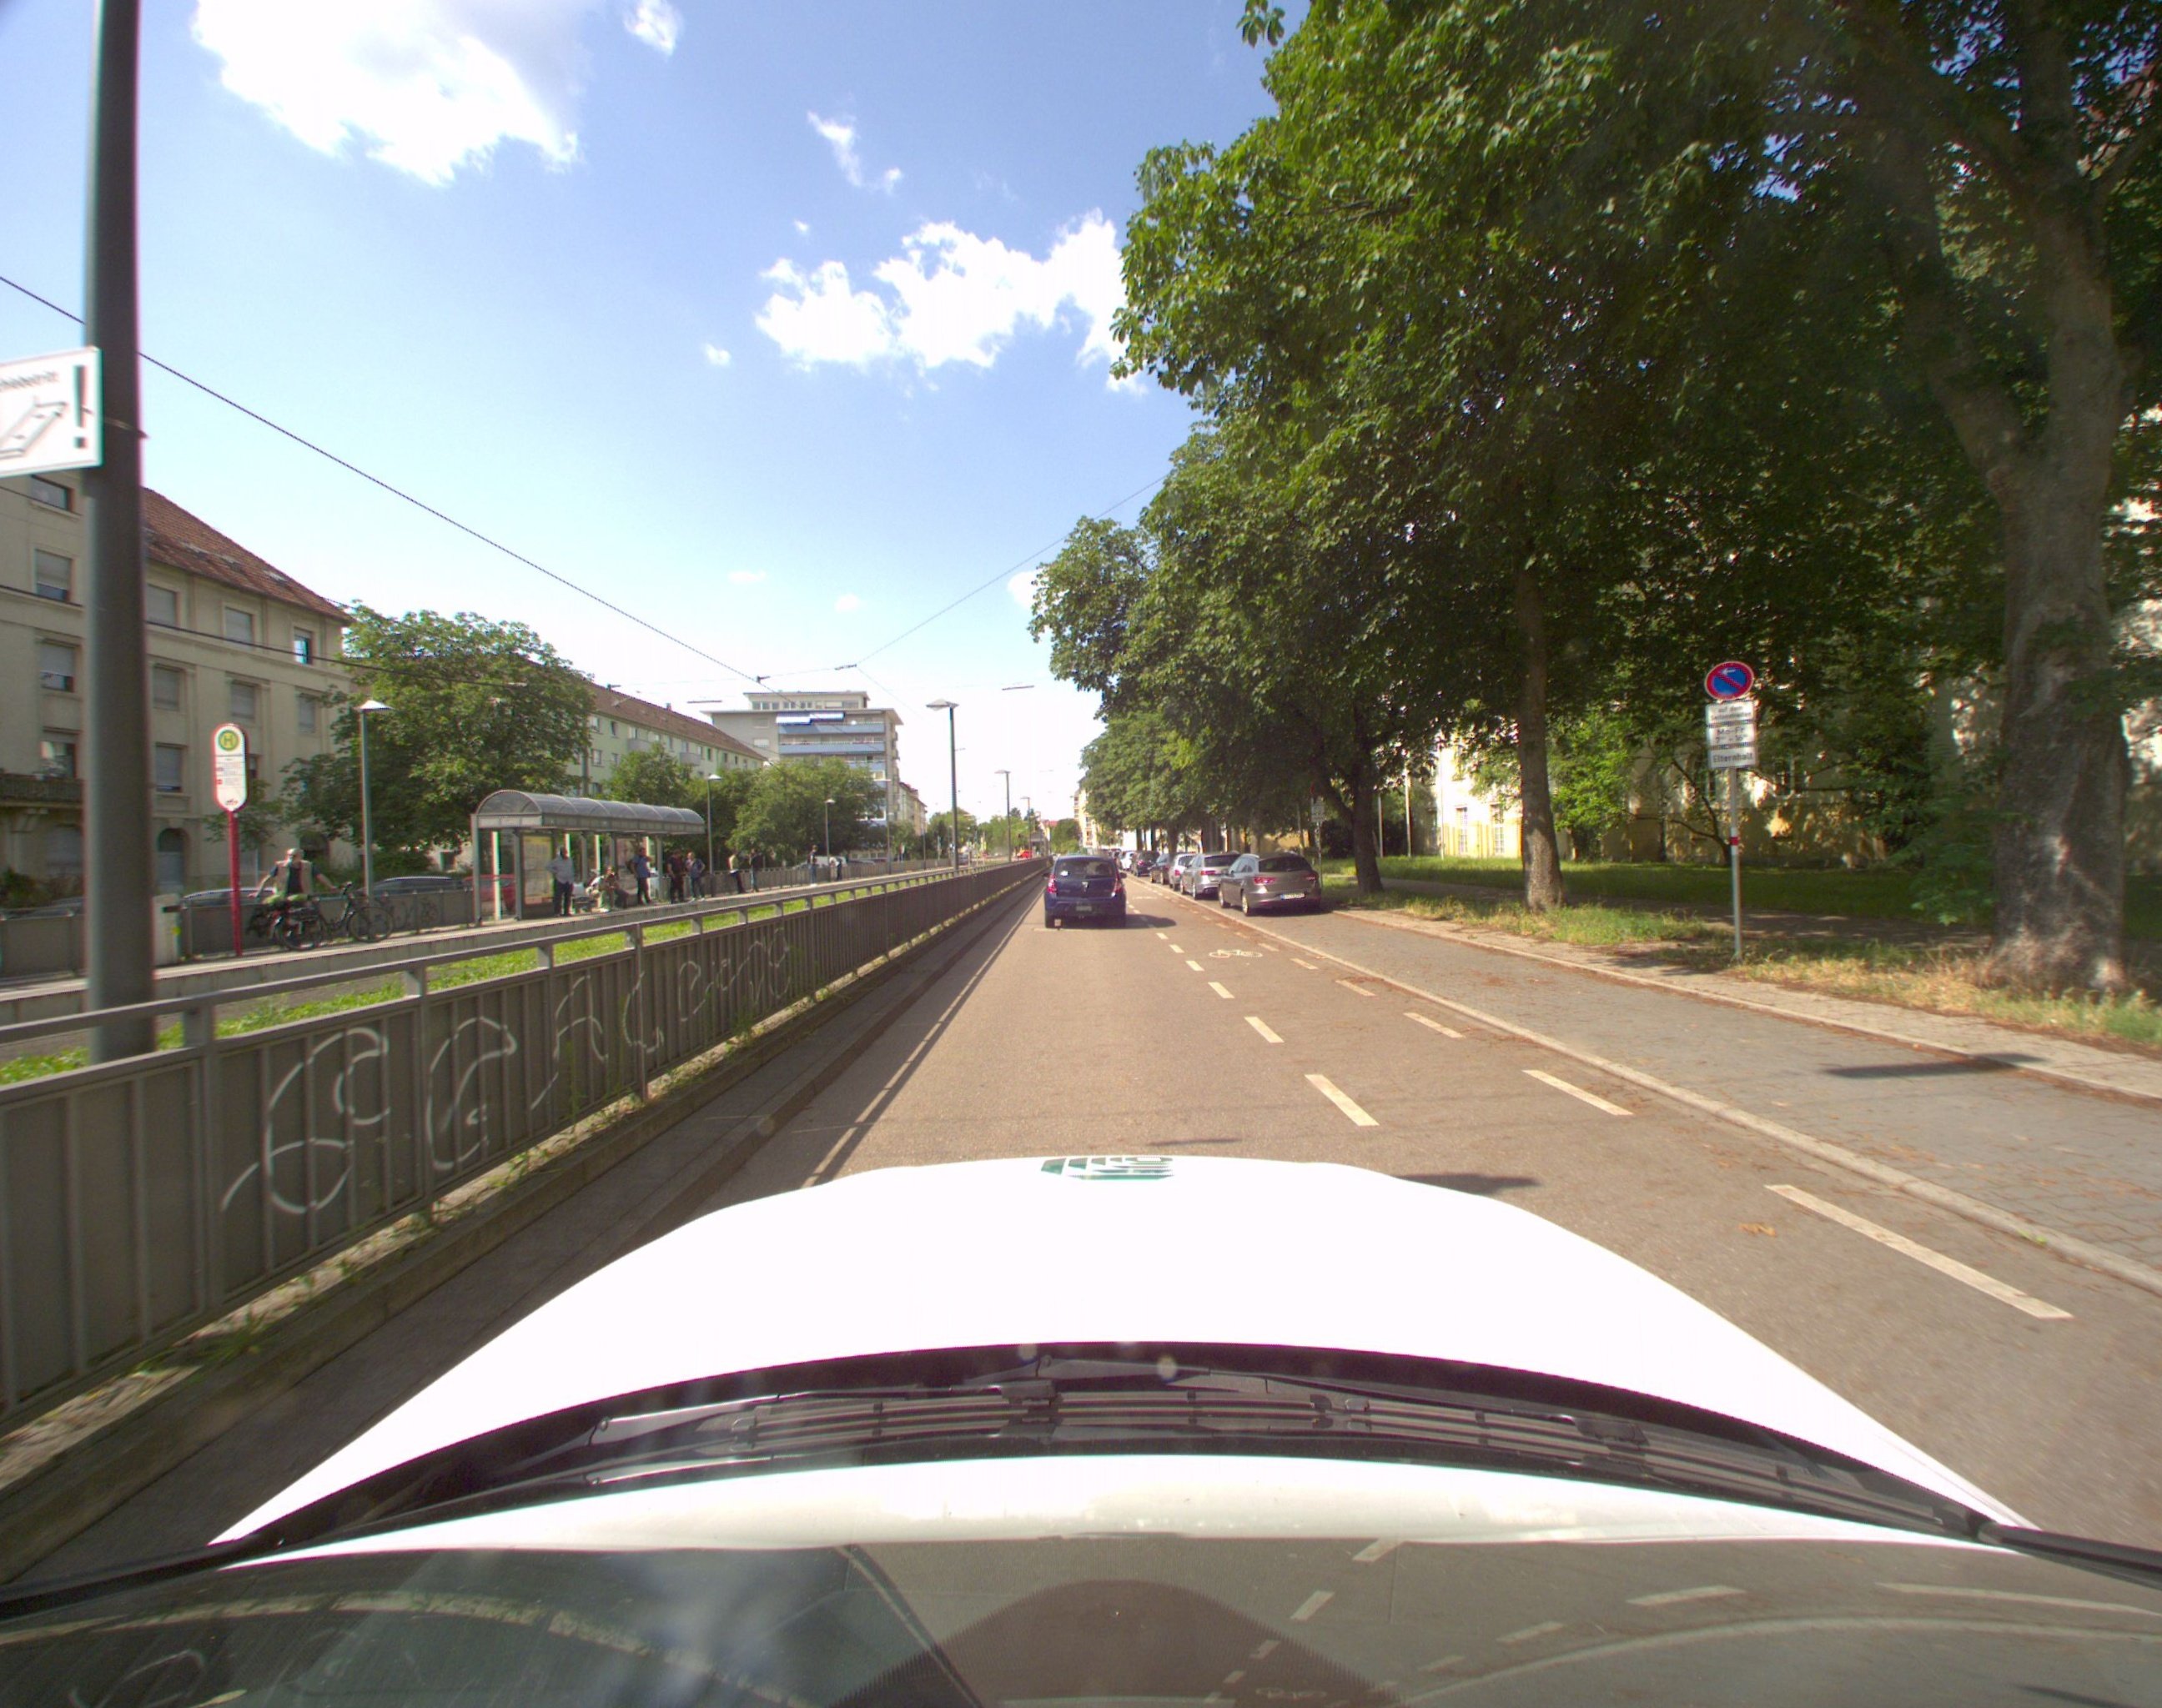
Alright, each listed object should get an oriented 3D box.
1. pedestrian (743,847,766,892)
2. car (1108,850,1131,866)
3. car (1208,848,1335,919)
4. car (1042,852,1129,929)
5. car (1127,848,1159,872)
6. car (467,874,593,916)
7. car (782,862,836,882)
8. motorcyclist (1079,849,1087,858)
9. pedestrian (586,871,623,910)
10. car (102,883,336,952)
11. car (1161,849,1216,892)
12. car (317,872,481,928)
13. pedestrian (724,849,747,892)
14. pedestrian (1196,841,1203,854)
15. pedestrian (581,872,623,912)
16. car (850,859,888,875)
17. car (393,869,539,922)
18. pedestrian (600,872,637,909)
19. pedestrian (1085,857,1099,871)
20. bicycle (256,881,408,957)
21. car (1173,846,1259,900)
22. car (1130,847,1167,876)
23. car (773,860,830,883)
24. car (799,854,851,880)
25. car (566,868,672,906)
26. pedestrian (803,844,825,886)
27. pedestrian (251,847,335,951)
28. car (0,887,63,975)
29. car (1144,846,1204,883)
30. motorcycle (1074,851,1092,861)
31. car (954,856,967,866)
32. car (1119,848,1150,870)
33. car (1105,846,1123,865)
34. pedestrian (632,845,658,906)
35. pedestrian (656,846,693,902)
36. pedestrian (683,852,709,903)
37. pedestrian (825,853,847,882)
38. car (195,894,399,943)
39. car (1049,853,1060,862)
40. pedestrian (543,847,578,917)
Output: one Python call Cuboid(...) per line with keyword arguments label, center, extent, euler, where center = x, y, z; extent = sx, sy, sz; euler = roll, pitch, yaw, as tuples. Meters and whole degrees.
Cuboid(label="pedestrian", center=(-13.015, 0.607, 32.466), extent=(0.601, 1.754, 0.629), euler=(-3, -1, 39))
Cuboid(label="car", center=(3.947, 0.358, 83.430), extent=(1.912, 1.442, 4.793), euler=(-4, 1, -2))
Cuboid(label="car", center=(4.584, 0.626, 20.324), extent=(1.824, 1.400, 4.653), euler=(-5, 1, -2))
Cuboid(label="car", center=(0.053, 0.721, 18.233), extent=(1.739, 1.507, 3.998), euler=(0, 0, -1))
Cuboid(label="car", center=(4.139, 0.414, 54.686), extent=(1.552, 1.461, 3.554), euler=(-6, 0, -3))
Cuboid(label="car", center=(-22.497, 1.632, 33.320), extent=(4.045, 1.391, 1.794), euler=(-2, 1, -41))
Cuboid(label="car", center=(-22.949, 1.511, 68.717), extent=(4.016, 1.485, 1.592), euler=(-2, 0, -34))
Cuboid(label="motorcyclist", center=(0.263, -0.060, 115.318), extent=(0.981, 1.339, 0.941), euler=(-3, 0, -3))
Cuboid(label="pedestrian", center=(-13.526, 1.027, 23.131), extent=(0.652, 1.031, 0.562), euler=(-4, 0, -4))
Cuboid(label="car", center=(-22.475, 1.597, 21.490), extent=(4.019, 1.529, 1.654), euler=(0, 0, -38))
Cuboid(label="car", center=(4.144, 0.589, 31.951), extent=(1.630, 1.431, 4.016), euler=(-5, 1, 2))
Cuboid(label="car", center=(-22.591, 1.478, 27.198), extent=(4.017, 1.568, 1.592), euler=(-2, 0, -35))
Cuboid(label="pedestrian", center=(-13.859, 0.658, 32.633), extent=(0.605, 1.674, 0.625), euler=(-2, -1, -1))
Cuboid(label="pedestrian", center=(14.072, -0.778, 96.607), extent=(0.630, 1.596, 0.539), euler=(-2, -1, -4))
Cuboid(label="pedestrian", center=(-13.110, 1.035, 22.309), extent=(0.718, 1.031, 0.623), euler=(-4, 0, -4))
Cuboid(label="car", center=(-23.007, 1.401, 88.421), extent=(3.680, 1.579, 1.632), euler=(-2, 0, -32))
Cuboid(label="car", center=(-22.661, 1.478, 30.091), extent=(4.158, 1.640, 1.813), euler=(-2, -1, -40))
Cuboid(label="pedestrian", center=(-13.503, 1.056, 23.797), extent=(0.703, 0.995, 0.562), euler=(-4, 0, -4))
Cuboid(label="pedestrian", center=(1.527, 1.440, 115.565), extent=(1.987, 2.014, 3.999), euler=(0, -1, 0))
Cuboid(label="bicycle", center=(-12.777, 1.072, 13.977), extent=(0.658, 1.114, 1.881), euler=(-4, 0, 8))
Cuboid(label="car", center=(4.306, 0.535, 26.746), extent=(1.823, 1.441, 5.048), euler=(-5, 1, -1))
Cuboid(label="car", center=(4.043, 0.432, 49.488), extent=(1.686, 1.561, 4.306), euler=(-5, 0, -1))
Cuboid(label="car", center=(-22.645, 1.417, 66.029), extent=(4.019, 1.639, 1.807), euler=(-2, 2, -38))
Cuboid(label="car", center=(-22.556, 1.150, 71.743), extent=(3.966, 2.070, 2.029), euler=(-2, 0, -32))
Cuboid(label="car", center=(-22.505, 1.593, 39.766), extent=(4.176, 1.564, 1.903), euler=(-2, -1, -42))
Cuboid(label="pedestrian", center=(-12.429, 0.526, 37.887), extent=(0.747, 1.892, 0.639), euler=(-2, -2, 1))
Cuboid(label="pedestrian", center=(-13.606, 0.763, 14.085), extent=(0.637, 1.724, 0.798), euler=(-2, -1, -4))
Cuboid(label="car", center=(-22.339, 1.572, 15.082), extent=(4.019, 1.640, 1.654), euler=(-3, -1, -37))
Cuboid(label="car", center=(4.252, 0.508, 37.897), extent=(1.828, 1.467, 4.823), euler=(-4, -1, -4))
Cuboid(label="motorcycle", center=(0.317, 0.271, 115.307), extent=(2.503, 1.339, 1.017), euler=(-3, 0, -4))
Cuboid(label="car", center=(-20.347, 1.125, 137.837), extent=(1.990, 1.645, 3.993), euler=(0, -1, -5))
Cuboid(label="car", center=(4.136, 0.374, 63.424), extent=(1.831, 1.523, 4.248), euler=(-4, 0, -3))
Cuboid(label="car", center=(3.593, 0.111, 88.779), extent=(1.816, 1.896, 4.184), euler=(-3, 1, 1))
Cuboid(label="pedestrian", center=(-13.346, 0.640, 24.937), extent=(0.441, 1.827, 0.623), euler=(-2, 0, -4))
Cuboid(label="pedestrian", center=(-12.880, 0.622, 25.824), extent=(0.631, 1.743, 1.035), euler=(-2, 0, -3))
Cuboid(label="pedestrian", center=(-12.517, 0.753, 26.478), extent=(0.597, 1.632, 0.556), euler=(-2, 1, -15))
Cuboid(label="pedestrian", center=(-13.880, 0.775, 46.206), extent=(0.986, 1.578, 0.798), euler=(-2, -1, -4))
Cuboid(label="car", center=(-22.964, 1.849, 24.090), extent=(4.012, 1.150, 1.775), euler=(0, 0, -30))
Cuboid(label="car", center=(-4.530, 0.627, 138.468), extent=(1.619, 1.465, 3.504), euler=(0, -1, -5))
Cuboid(label="pedestrian", center=(-13.242, 0.706, 20.725), extent=(0.485, 1.726, 0.623), euler=(-1, -1, -4))
